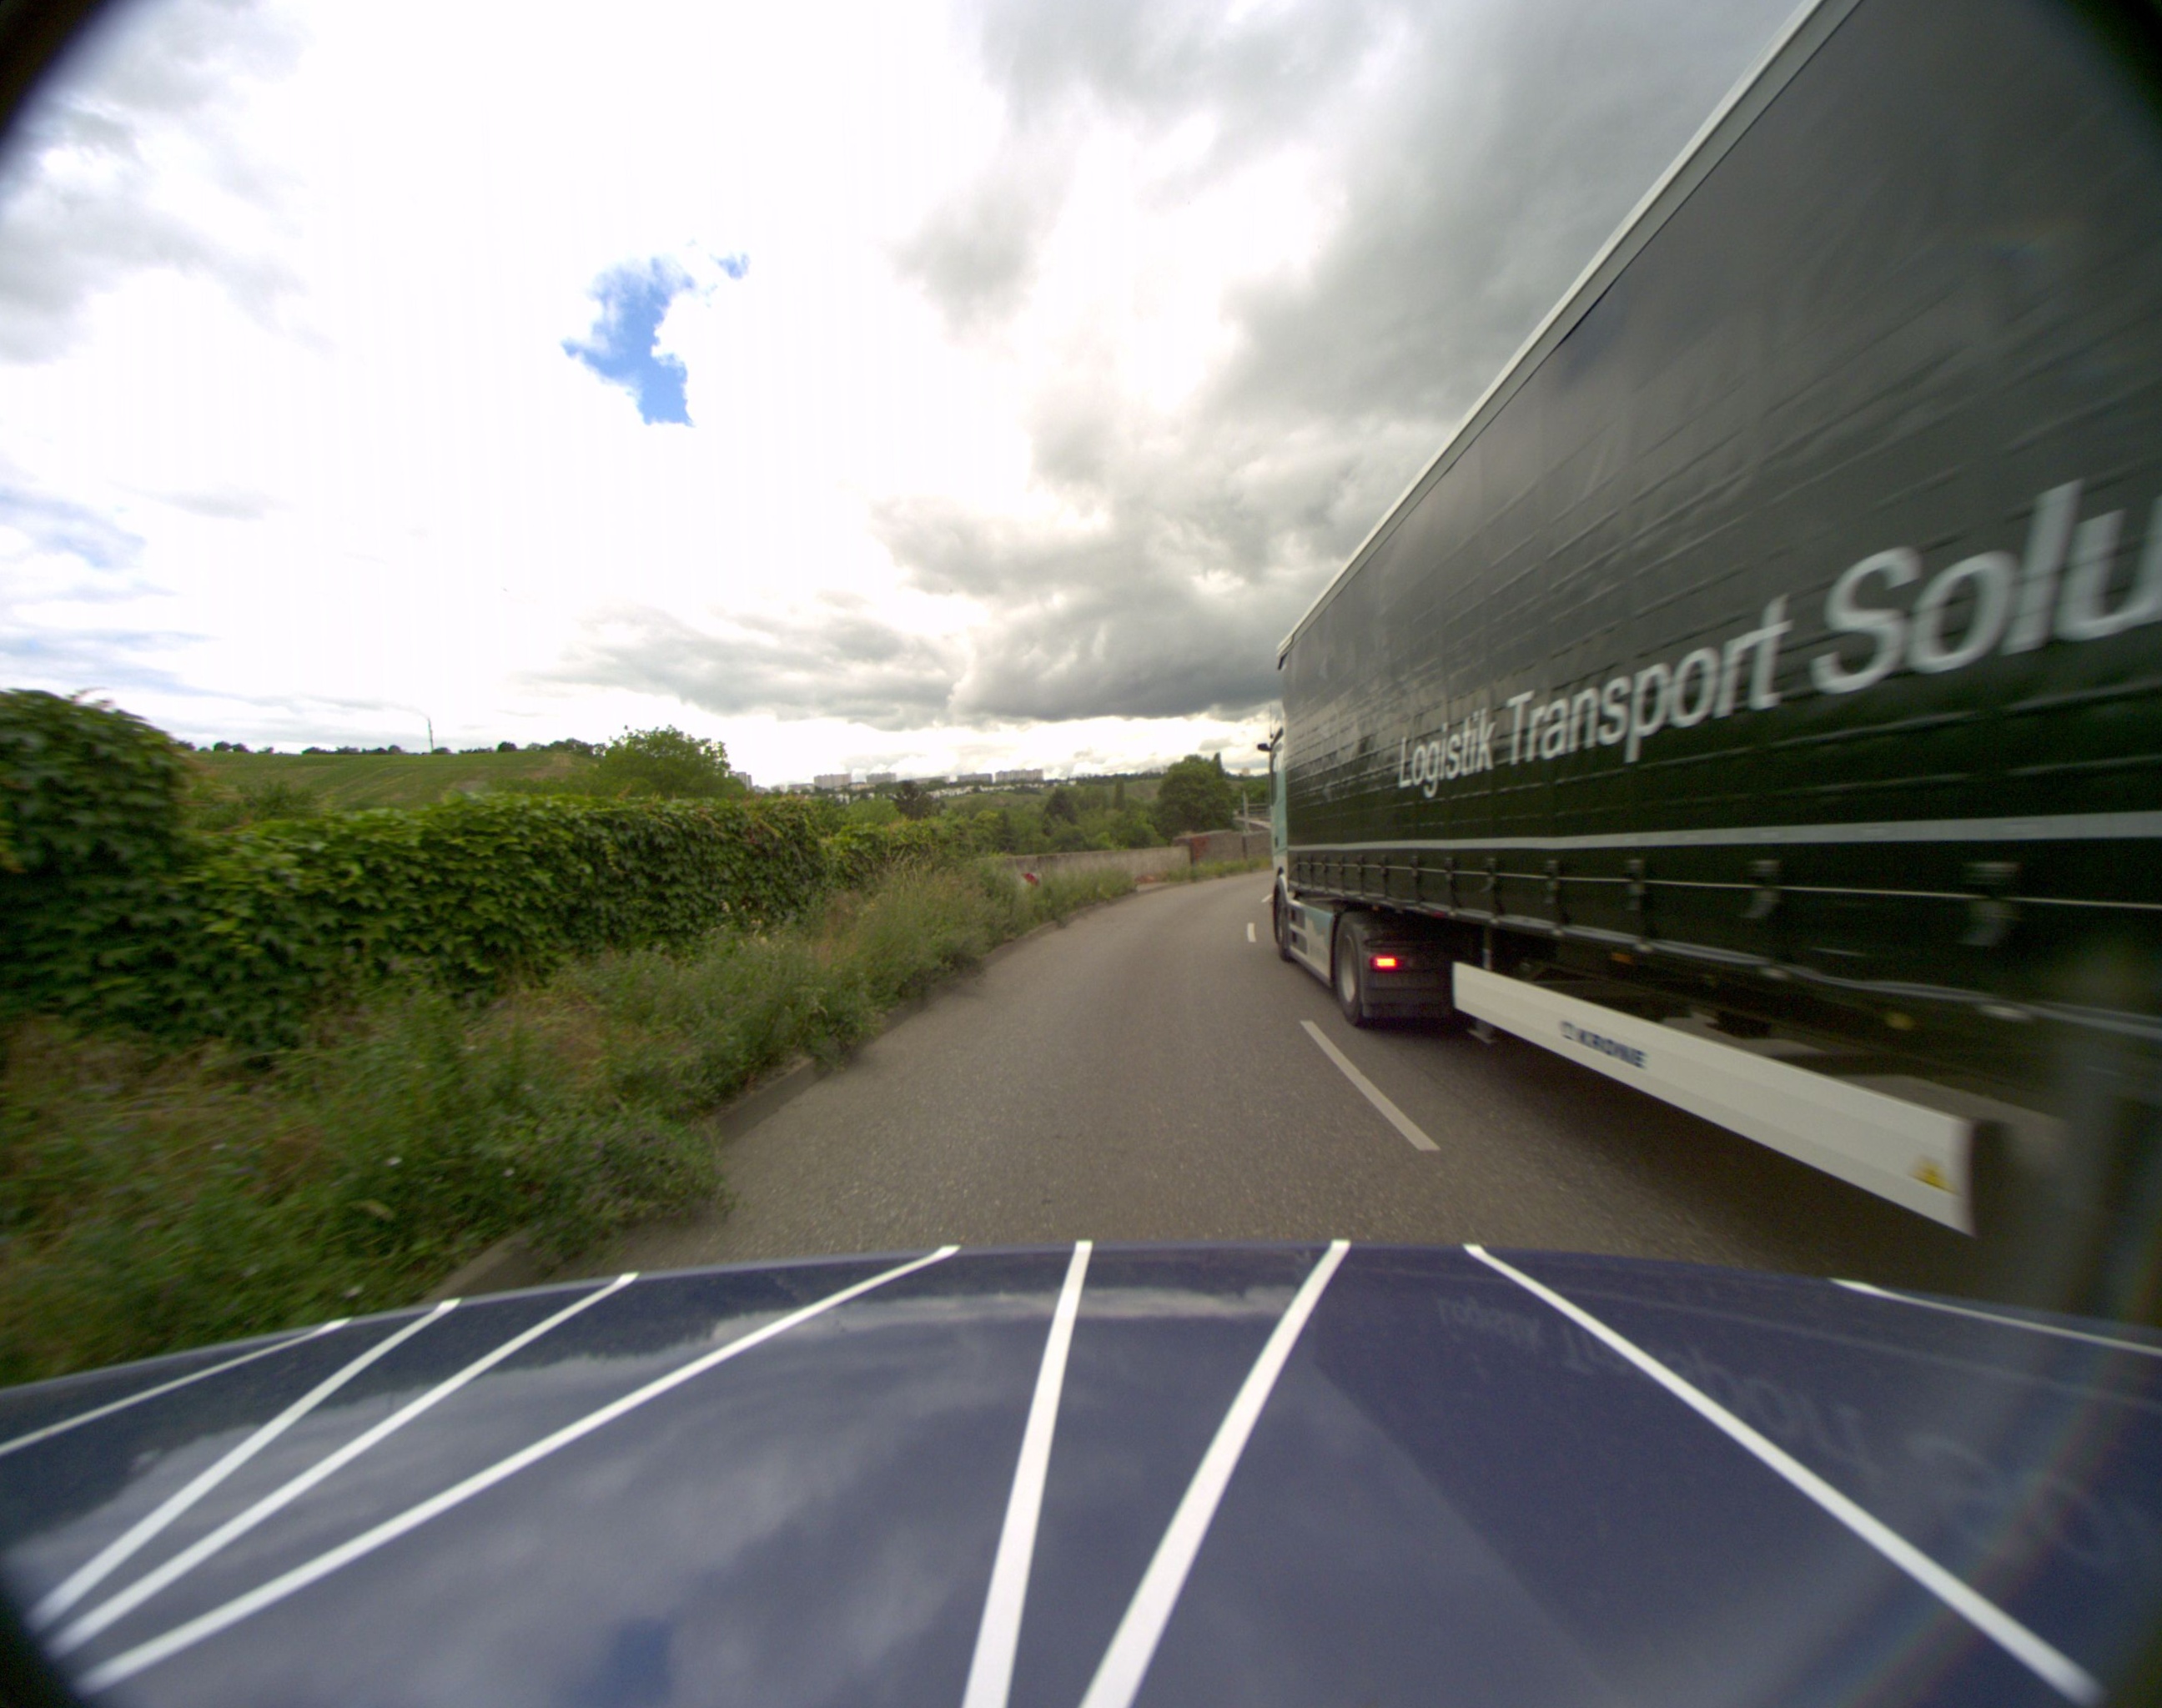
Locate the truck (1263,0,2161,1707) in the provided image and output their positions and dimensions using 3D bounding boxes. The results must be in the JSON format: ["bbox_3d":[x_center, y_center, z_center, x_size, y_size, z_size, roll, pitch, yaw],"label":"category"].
[{"bbox_3d":[3.307,-0.317,1.731,2.711,3.927,13.835,0,0,1],"label":"truck"}]

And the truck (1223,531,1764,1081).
[{"bbox_3d":[3.531,-0.338,8.593,2.711,3.927,6.329,0,0,1],"label":"truck"}]
